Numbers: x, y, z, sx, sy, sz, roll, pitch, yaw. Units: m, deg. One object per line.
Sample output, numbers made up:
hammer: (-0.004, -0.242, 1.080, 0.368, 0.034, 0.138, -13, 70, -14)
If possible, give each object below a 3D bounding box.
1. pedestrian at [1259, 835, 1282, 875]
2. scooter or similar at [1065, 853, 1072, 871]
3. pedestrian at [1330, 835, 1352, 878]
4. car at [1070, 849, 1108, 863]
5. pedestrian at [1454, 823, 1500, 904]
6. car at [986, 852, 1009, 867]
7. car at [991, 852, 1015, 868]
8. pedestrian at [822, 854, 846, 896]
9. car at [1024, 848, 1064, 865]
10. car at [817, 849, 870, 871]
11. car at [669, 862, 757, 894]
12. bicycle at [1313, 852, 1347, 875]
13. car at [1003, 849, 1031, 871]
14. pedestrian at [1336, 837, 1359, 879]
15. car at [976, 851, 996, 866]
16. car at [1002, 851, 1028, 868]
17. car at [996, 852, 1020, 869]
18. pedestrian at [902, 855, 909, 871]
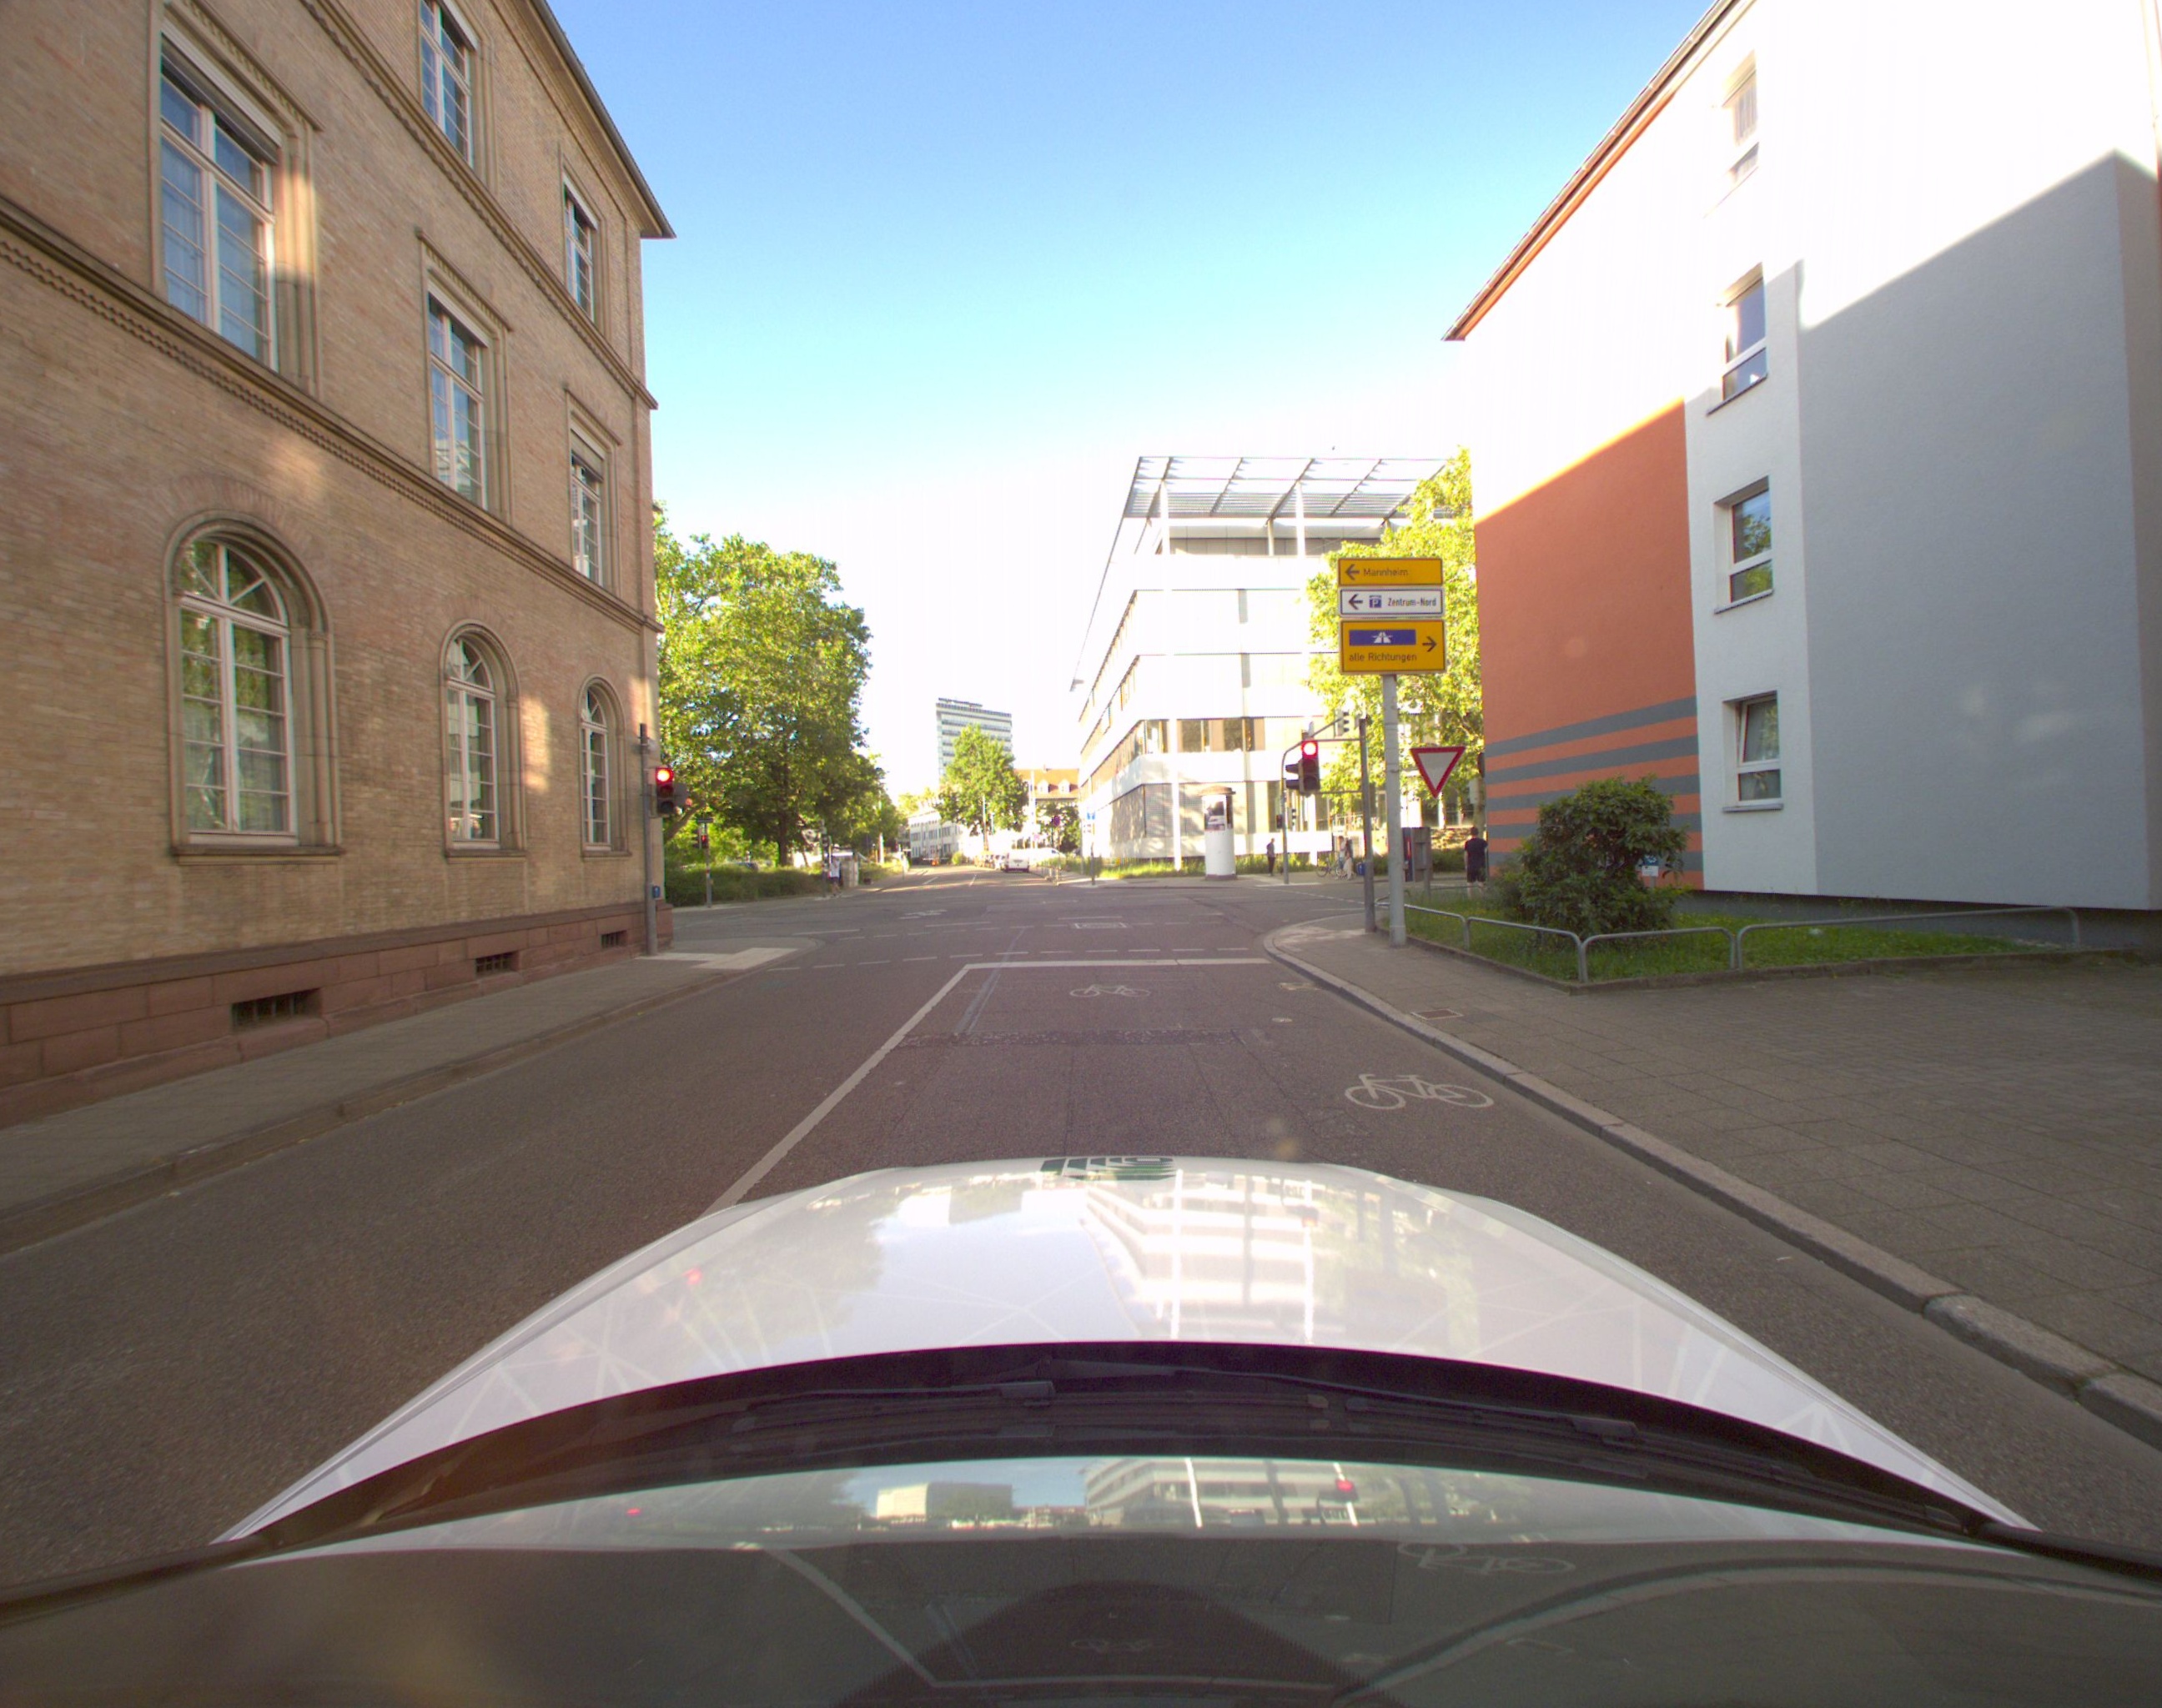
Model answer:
pedestrian: (8.877, 0.051, 38.213, 0.906, 1.815, 0.766, -1, -1, 24)
scooter or similar: (-0.912, 0.588, 58.486, 0.436, 1.256, 1.418, -2, 0, -2)
pedestrian: (11.057, 0.119, 34.641, 0.761, 1.795, 0.648, 0, -1, 5)
car: (1.026, 0.268, 104.966, 4.644, 1.725, 1.990, 0, -1, -15)
pedestrian: (9.011, 0.216, 18.526, 0.723, 1.810, 0.693, 0, -1, -39)
car: (-8.882, 0.599, 86.390, 1.994, 1.499, 4.635, 0, -1, -10)
car: (-7.841, 0.593, 81.637, 1.994, 1.499, 4.270, 0, -1, -11)
pedestrian: (-11.105, 0.943, 36.642, 0.919, 1.869, 0.736, 0, -1, -27)
car: (-4.680, 0.284, 103.260, 4.802, 2.159, 1.989, 0, -1, -16)
car: (-22.022, 0.532, 75.780, 4.441, 2.014, 1.995, 0, -1, -8)
car: (-17.083, 1.093, 37.913, 3.407, 1.457, 1.646, 0, -1, -8)
bicycle: (11.006, 0.432, 36.037, 0.381, 1.008, 1.416, -2, 0, -40)
car: (-5.171, 0.474, 65.129, 1.992, 1.725, 4.640, 0, -1, -7)
pedestrian: (11.082, 0.163, 33.892, 0.761, 1.719, 0.648, 0, -1, 4)
car: (-11.298, 0.546, 96.314, 1.995, 1.725, 4.633, 0, -1, -11)
car: (-5.846, 0.486, 71.363, 1.993, 1.499, 4.638, 0, -1, -8)
car: (-6.918, 0.616, 77.164, 1.993, 1.499, 4.638, 0, -1, -8)
pedestrian: (-16.693, 0.855, 77.424, 0.700, 1.587, 0.633, 0, -1, -14)
